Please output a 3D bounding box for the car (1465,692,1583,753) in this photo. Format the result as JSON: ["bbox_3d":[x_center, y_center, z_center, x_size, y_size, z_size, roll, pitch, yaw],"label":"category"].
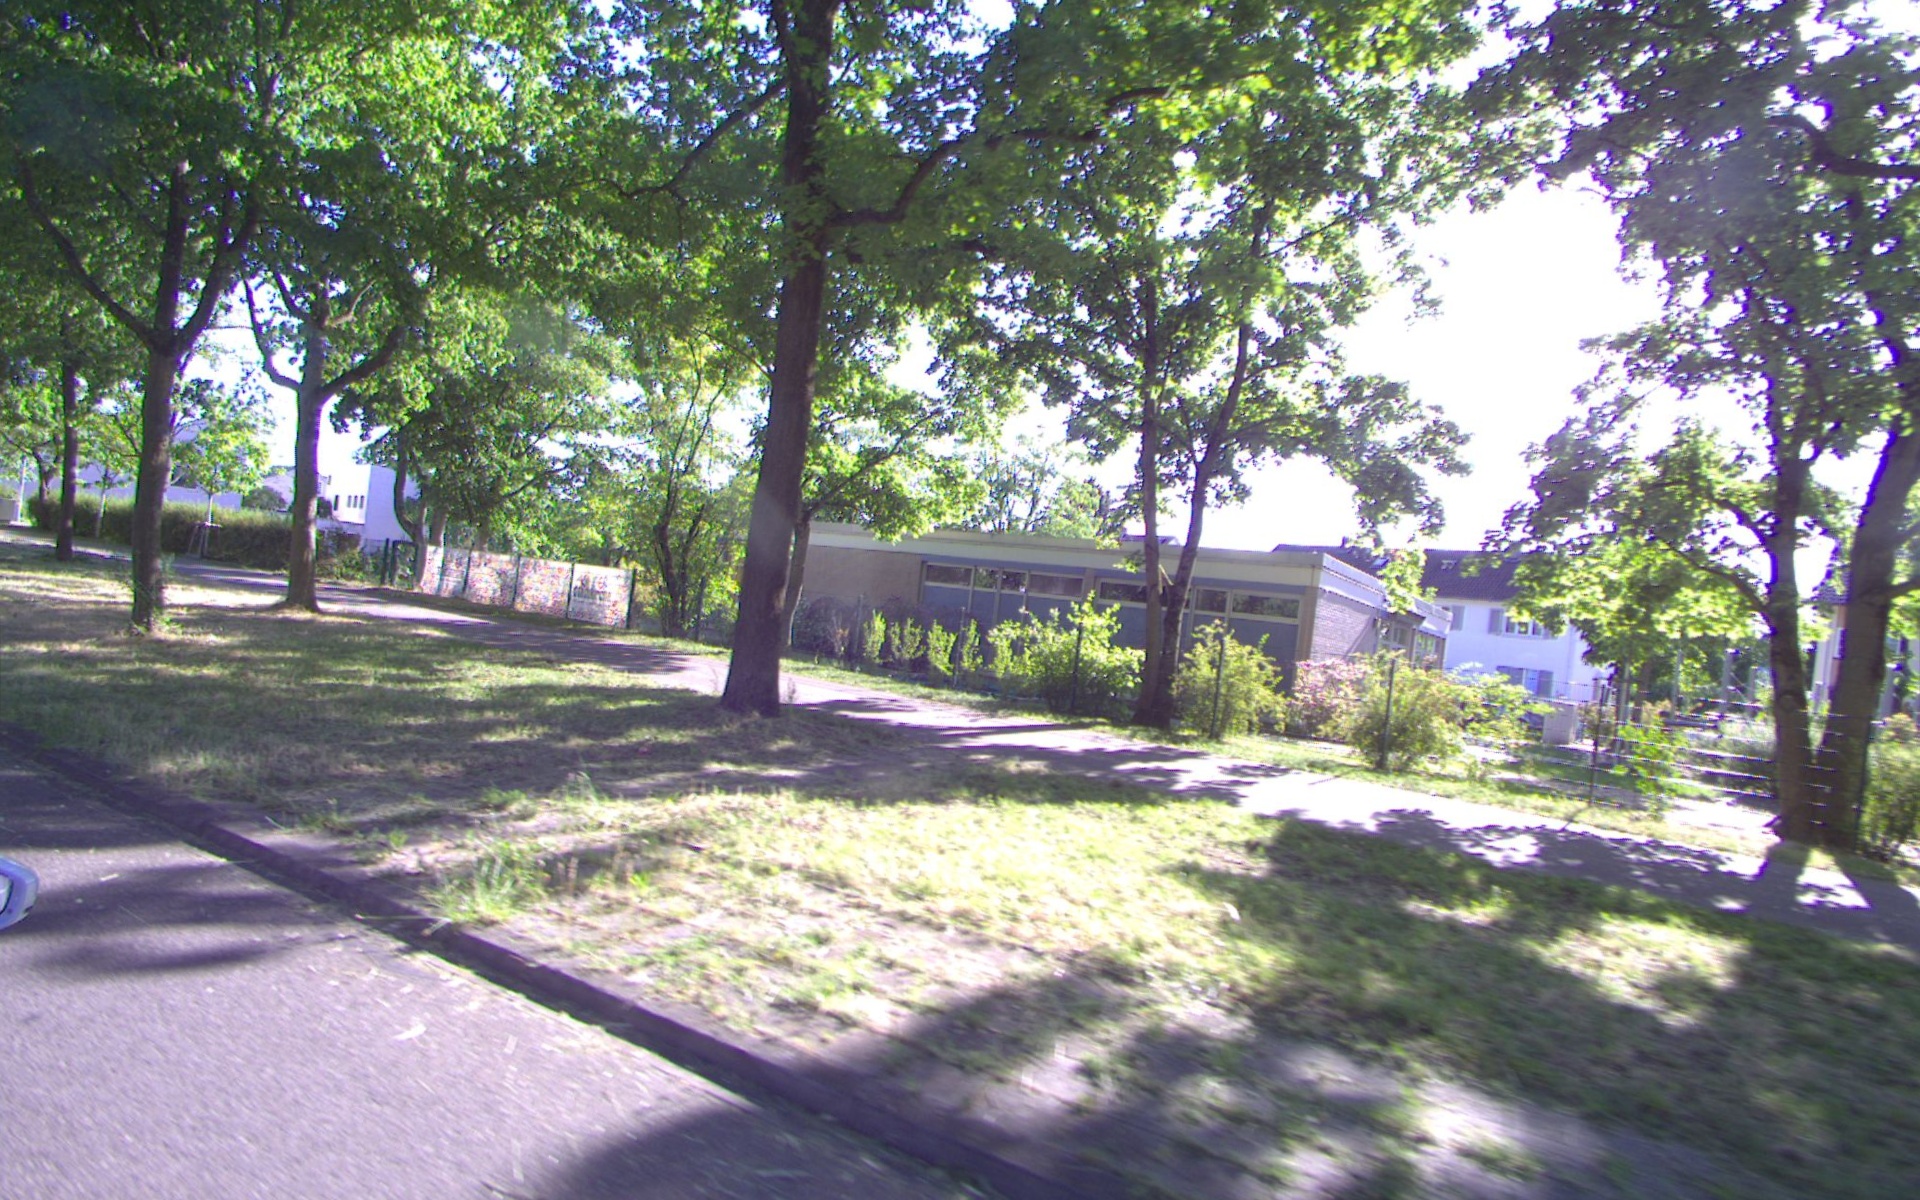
[{"bbox_3d":[23.761,5.146,42.438,3.941,1.970,1.994,6,-2,38],"label":"car"}]
